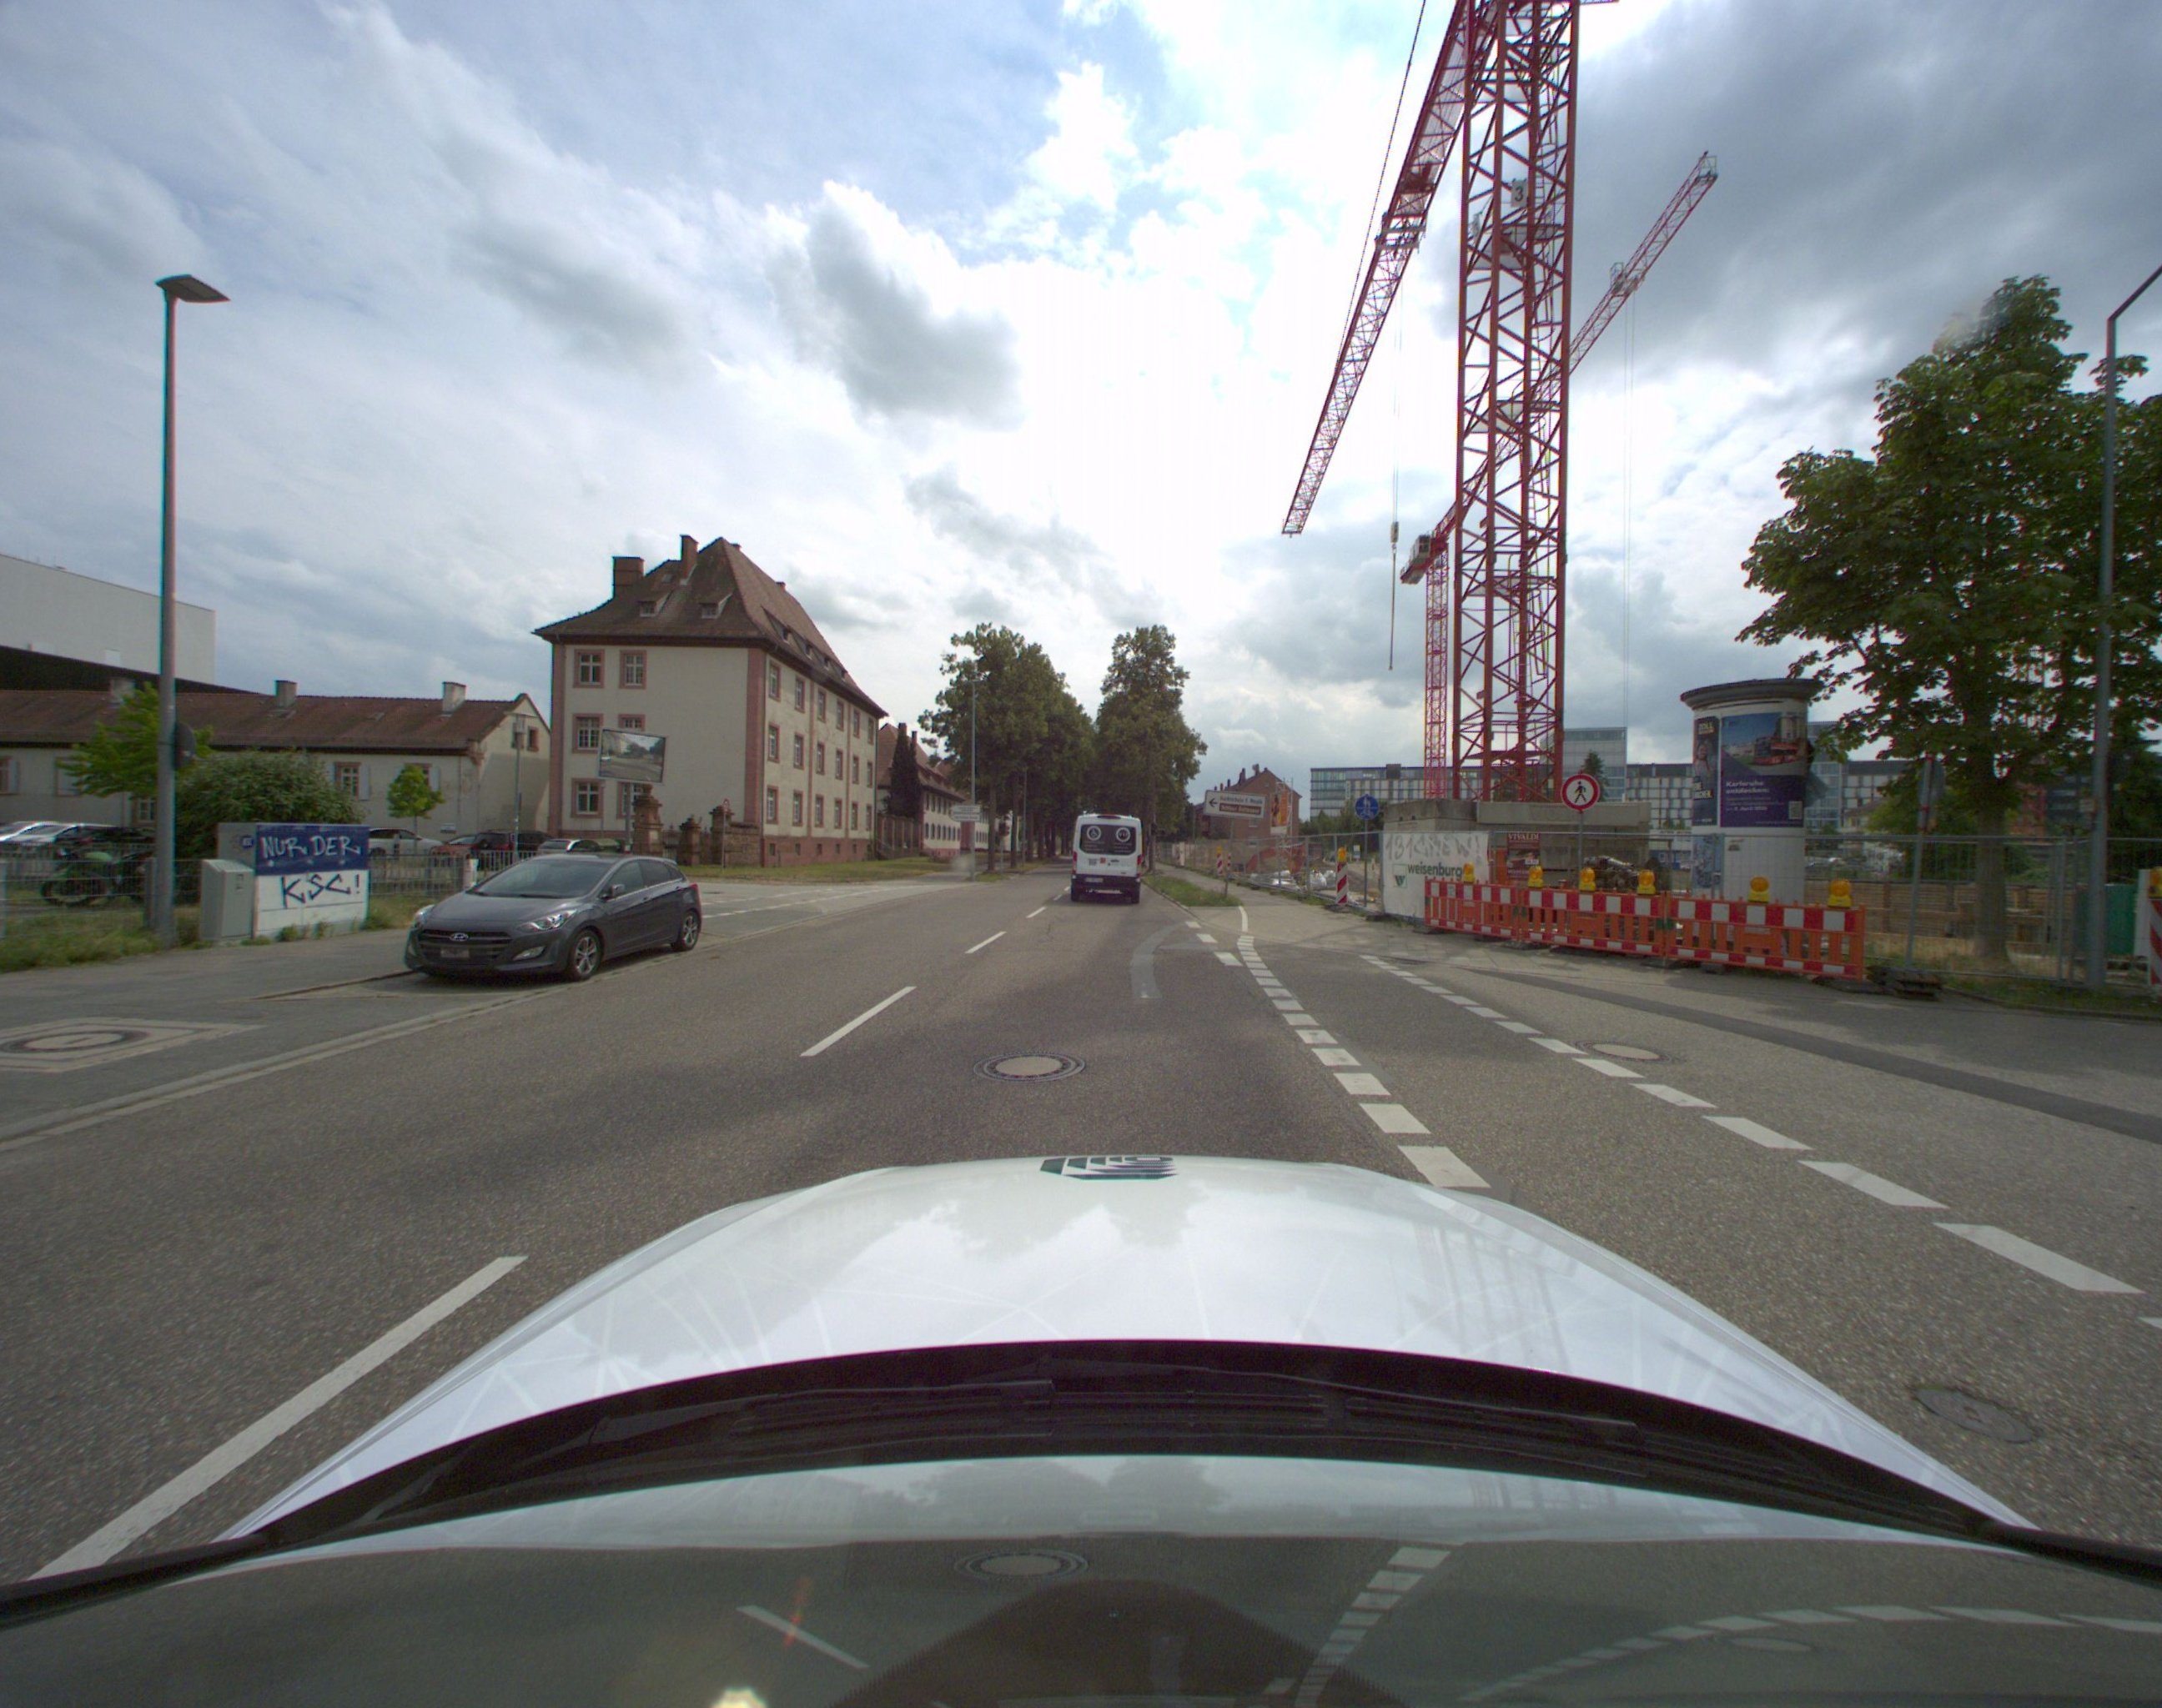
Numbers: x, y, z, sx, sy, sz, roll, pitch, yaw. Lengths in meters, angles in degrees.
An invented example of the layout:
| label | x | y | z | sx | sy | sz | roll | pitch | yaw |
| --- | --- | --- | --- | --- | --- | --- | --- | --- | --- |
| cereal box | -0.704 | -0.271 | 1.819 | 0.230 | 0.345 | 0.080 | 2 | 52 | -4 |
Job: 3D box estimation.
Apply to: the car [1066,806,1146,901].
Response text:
| label | x | y | z | sx | sy | sz | roll | pitch | yaw |
| --- | --- | --- | --- | --- | --- | --- | --- | --- | --- |
| car | 0.659 | -0.039 | 24.629 | 2.057 | 2.539 | 3.997 | 3 | 0 | -2 |

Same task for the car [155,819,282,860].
| label | x | y | z | sx | sy | sz | roll | pitch | yaw |
| --- | --- | --- | --- | --- | --- | --- | --- | --- | --- |
| car | -39.342 | -0.700 | 37.291 | 1.760 | 1.710 | 3.699 | 1 | 3 | 2 |

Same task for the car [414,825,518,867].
| label | x | y | z | sx | sy | sz | roll | pitch | yaw |
| --- | --- | --- | --- | --- | --- | --- | --- | --- | --- |
| car | -27.708 | -0.396 | 36.856 | 1.760 | 1.710 | 3.699 | 1 | 3 | 2 |

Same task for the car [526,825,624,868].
| label | x | y | z | sx | sy | sz | roll | pitch | yaw |
| --- | --- | --- | --- | --- | --- | --- | --- | --- | --- |
| car | -22.417 | -0.375 | 36.284 | 1.760 | 1.710 | 3.961 | 1 | 3 | 2 |

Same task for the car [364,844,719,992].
| label | x | y | z | sx | sy | sz | roll | pitch | yaw |
| --- | --- | --- | --- | --- | --- | --- | --- | --- | --- |
| car | -6.681 | 0.659 | 10.800 | 1.817 | 1.473 | 4.296 | 3 | 1 | -1 |

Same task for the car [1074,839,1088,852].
| label | x | y | z | sx | sy | sz | roll | pitch | yaw |
| --- | --- | --- | --- | --- | --- | --- | --- | --- | --- |
| car | 0.010 | -1.292 | 122.314 | 1.764 | 1.659 | 4.259 | -1 | -2 | 3 |

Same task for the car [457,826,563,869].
| label | x | y | z | sx | sy | sz | roll | pitch | yaw |
| --- | --- | --- | --- | --- | --- | --- | --- | --- | --- |
| car | -25.312 | -0.334 | 36.284 | 1.760 | 1.710 | 3.961 | 1 | 3 | 2 |

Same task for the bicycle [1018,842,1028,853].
| label | x | y | z | sx | sy | sz | roll | pitch | yaw |
| --- | --- | --- | --- | --- | --- | --- | --- | --- | --- |
| bicycle | -5.984 | -0.646 | 84.122 | 0.720 | 1.095 | 2.152 | 5 | 1 | 1 |

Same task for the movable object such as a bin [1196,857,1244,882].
| label | x | y | z | sx | sy | sz | roll | pitch | yaw |
| --- | --- | --- | --- | --- | --- | --- | --- | --- | --- |
| movable object such as a bin | 14.606 | 1.603 | 85.366 | 4.648 | 2.589 | 3.145 | 0 | 0 | 15 |

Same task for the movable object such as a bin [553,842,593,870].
| label | x | y | z | sx | sy | sz | roll | pitch | yaw |
| --- | --- | --- | --- | --- | --- | --- | --- | --- | --- |
| movable object such as a bin | -19.332 | 0.068 | 31.012 | 1.034 | 1.033 | 0.710 | 1 | 0 | 2 |

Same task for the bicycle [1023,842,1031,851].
| label | x | y | z | sx | sy | sz | roll | pitch | yaw |
| --- | --- | --- | --- | --- | --- | --- | --- | --- | --- |
| bicycle | -6.963 | -0.968 | 104.467 | 0.720 | 1.095 | 2.226 | 5 | 1 | 1 |

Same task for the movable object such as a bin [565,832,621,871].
| label | x | y | z | sx | sy | sz | roll | pitch | yaw |
| --- | --- | --- | --- | --- | --- | --- | --- | --- | --- |
| movable object such as a bin | -19.263 | -0.093 | 32.181 | 1.197 | 1.468 | 1.571 | 1 | 0 | 2 |

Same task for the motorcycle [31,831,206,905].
| label | x | y | z | sx | sy | sz | roll | pitch | yaw |
| --- | --- | --- | --- | --- | --- | --- | --- | --- | --- |
| motorcycle | -15.406 | 0.226 | 13.060 | 2.080 | 1.142 | 0.726 | 0 | 0 | 5 |

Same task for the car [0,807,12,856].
| label | x | y | z | sx | sy | sz | roll | pitch | yaw |
| --- | --- | --- | --- | --- | --- | --- | --- | --- | --- |
| car | -38.495 | -0.759 | 26.573 | 1.577 | 1.710 | 4.172 | 1 | 1 | 4 |

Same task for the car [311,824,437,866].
| label | x | y | z | sx | sy | sz | roll | pitch | yaw |
| --- | --- | --- | --- | --- | --- | --- | --- | --- | --- |
| car | -31.735 | -0.450 | 36.742 | 1.760 | 1.710 | 4.294 | 1 | 3 | 2 |

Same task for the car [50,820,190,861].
| label | x | y | z | sx | sy | sz | roll | pitch | yaw |
| --- | --- | --- | --- | --- | --- | --- | --- | --- | --- |
| car | -43.186 | -0.643 | 36.730 | 1.760 | 1.710 | 3.699 | 1 | 3 | 2 |

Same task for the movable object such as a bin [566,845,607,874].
| label | x | y | z | sx | sy | sz | roll | pitch | yaw |
| --- | --- | --- | --- | --- | --- | --- | --- | --- | --- |
| movable object such as a bin | -18.215 | 0.198 | 29.999 | 1.034 | 1.033 | 0.710 | 1 | 0 | 2 |

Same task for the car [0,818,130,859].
| label | x | y | z | sx | sy | sz | roll | pitch | yaw |
| --- | --- | --- | --- | --- | --- | --- | --- | --- | --- |
| car | -46.378 | -0.735 | 37.049 | 1.760 | 1.710 | 3.699 | 1 | 3 | 2 |

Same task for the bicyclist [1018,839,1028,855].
| label | x | y | z | sx | sy | sz | roll | pitch | yaw |
| --- | --- | --- | --- | --- | --- | --- | --- | --- | --- |
| bicyclist | -5.986 | -0.725 | 84.135 | 0.720 | 1.656 | 0.958 | 5 | 0 | 1 |
